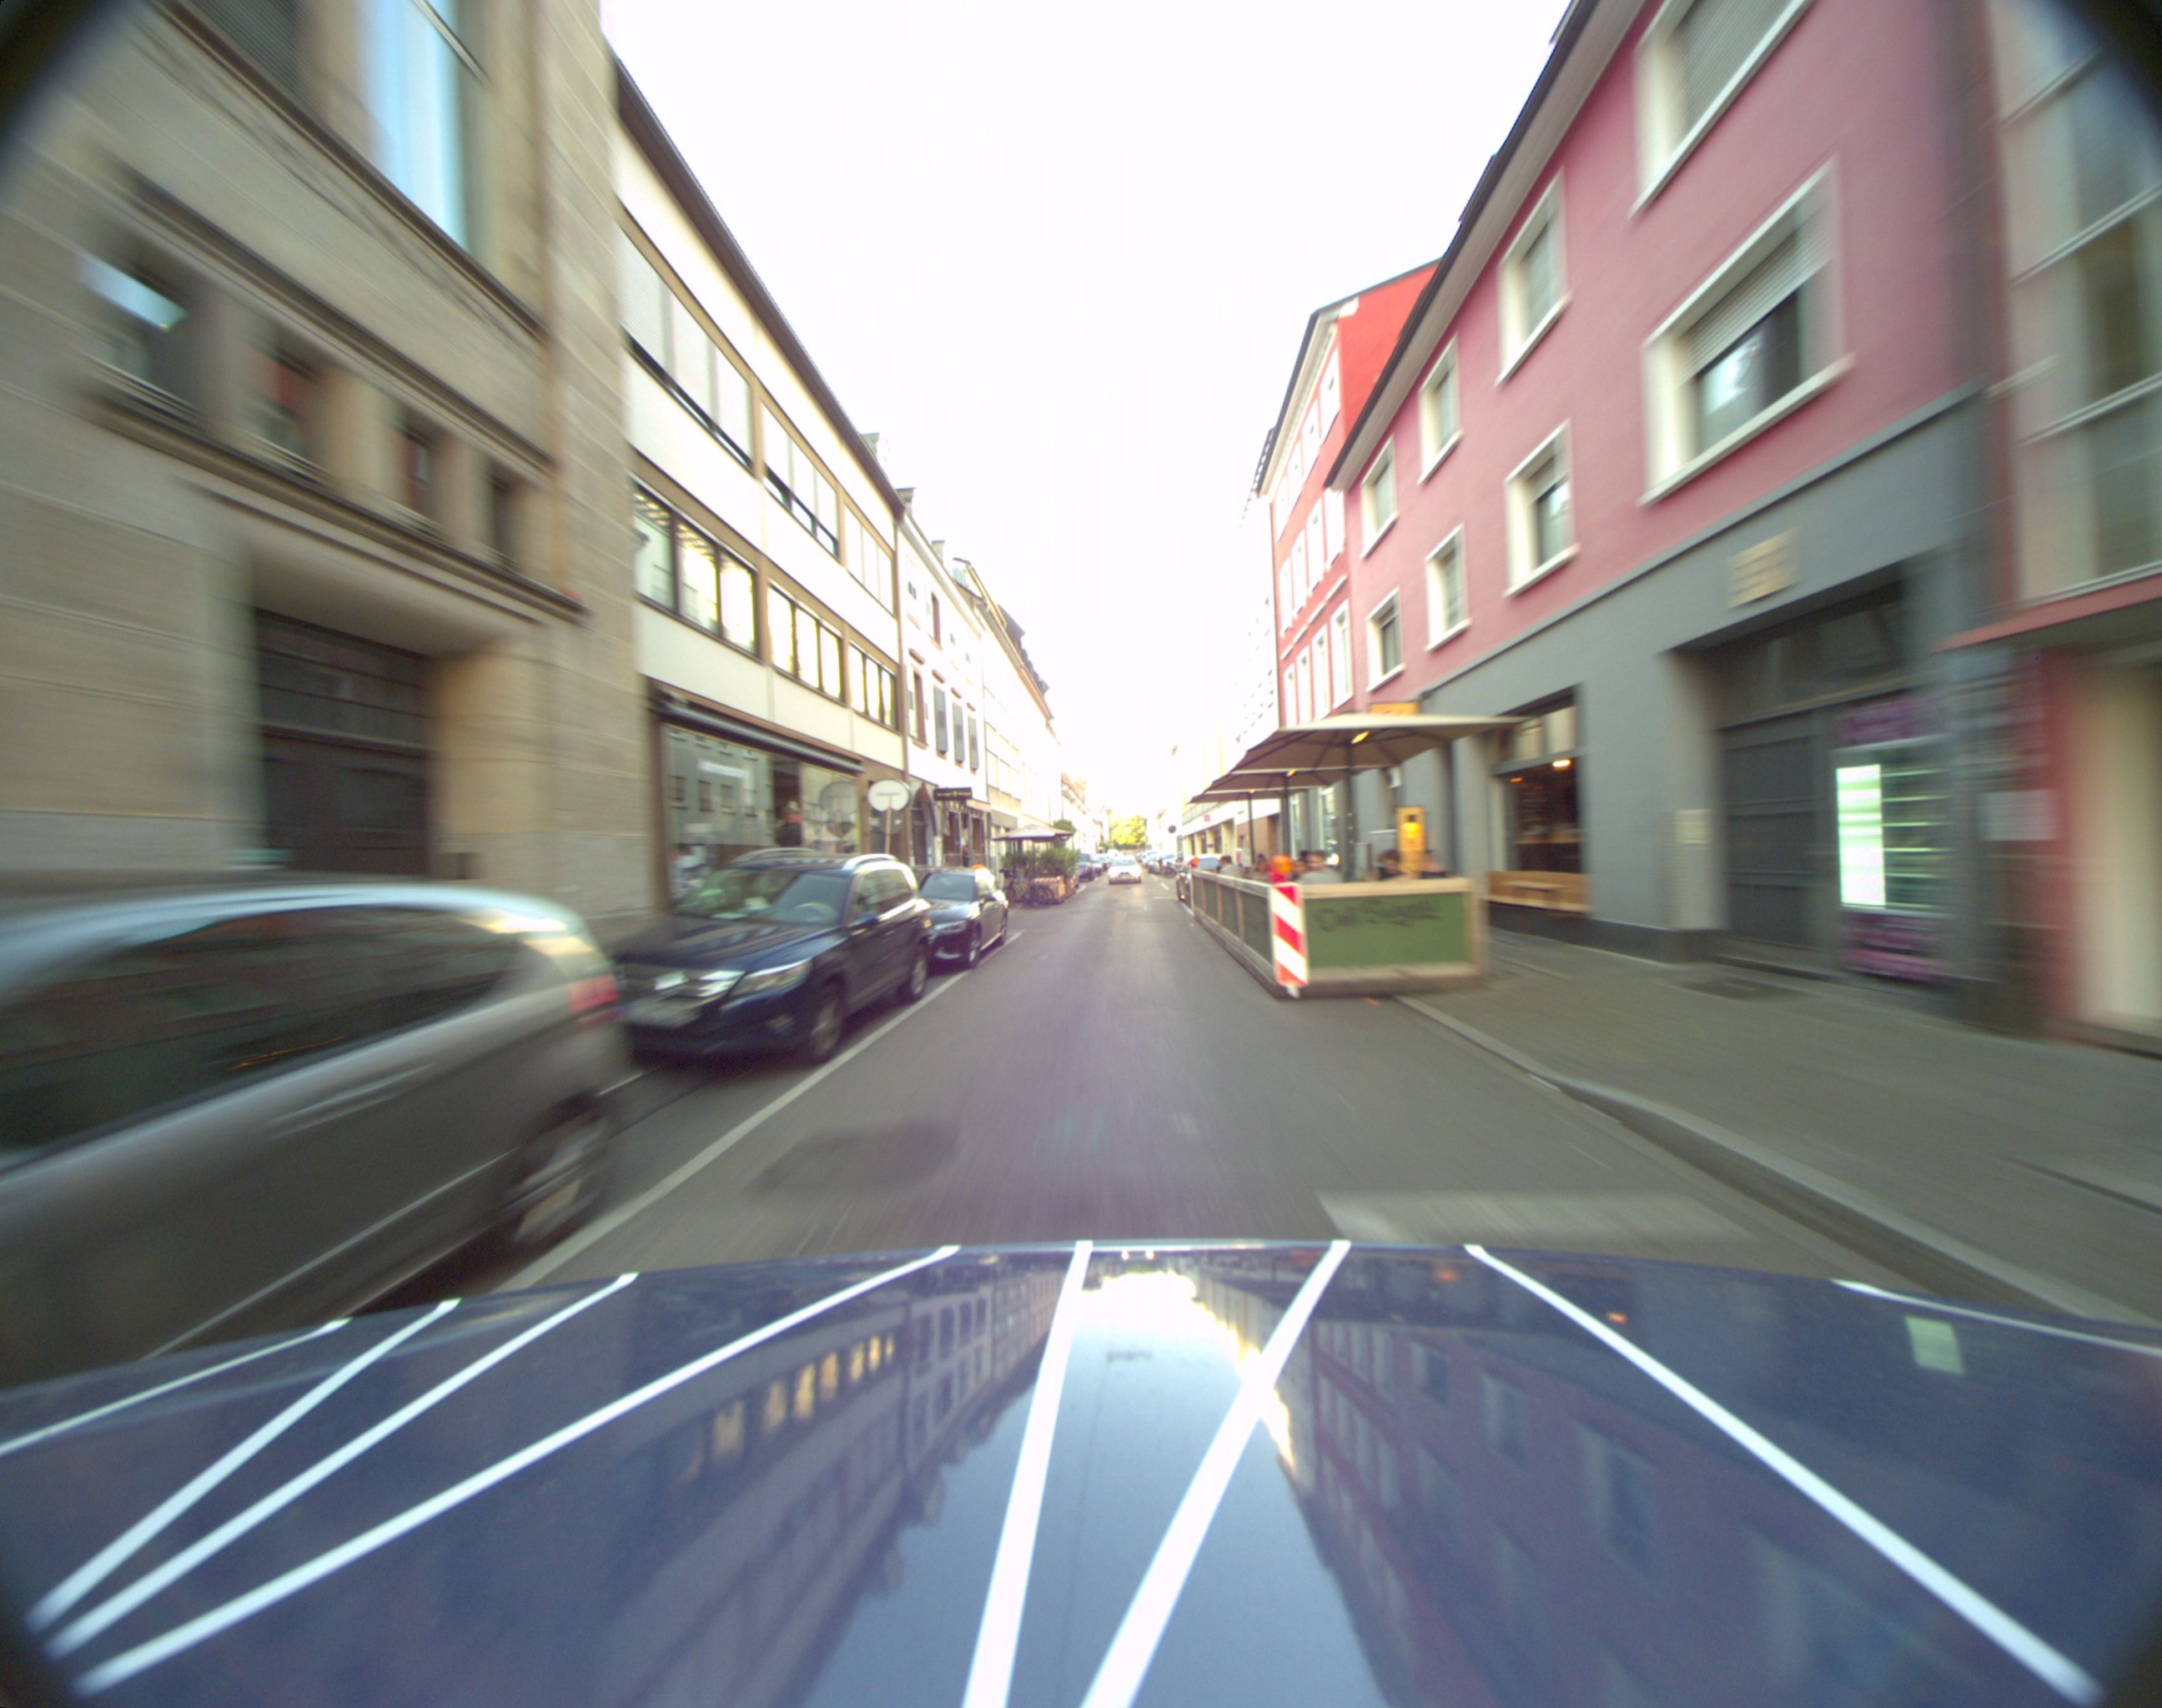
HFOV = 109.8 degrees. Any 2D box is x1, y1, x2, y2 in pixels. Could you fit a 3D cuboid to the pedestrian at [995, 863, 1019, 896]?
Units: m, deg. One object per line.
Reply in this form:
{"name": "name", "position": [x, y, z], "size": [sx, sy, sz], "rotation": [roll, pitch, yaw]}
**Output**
{"name": "pedestrian", "position": [-2.898, 0.993, 29.770], "size": [0.736, 1.236, 0.646], "rotation": [-3, 1, 5]}

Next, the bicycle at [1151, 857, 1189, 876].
{"name": "bicycle", "position": [5.987, 0.836, 51.019], "size": [2.480, 1.172, 0.784], "rotation": [-3, 1, 9]}

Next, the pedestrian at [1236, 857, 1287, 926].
{"name": "pedestrian", "position": [2.931, 0.596, 12.362], "size": [0.612, 1.056, 0.547], "rotation": [-3, 1, -4]}

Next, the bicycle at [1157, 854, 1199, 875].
{"name": "bicycle", "position": [5.986, 0.648, 46.981], "size": [2.480, 1.172, 0.784], "rotation": [-3, 1, 9]}

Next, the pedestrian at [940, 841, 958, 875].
{"name": "pedestrian", "position": [-4.899, 0.148, 28.262], "size": [0.467, 1.236, 0.610], "rotation": [-2, 1, 3]}

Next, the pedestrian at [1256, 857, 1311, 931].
{"name": "pedestrian", "position": [3.061, 0.594, 11.509], "size": [0.612, 1.056, 0.547], "rotation": [-3, 1, -4]}

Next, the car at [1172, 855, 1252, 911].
{"name": "car", "position": [3.816, 0.796, 22.755], "size": [1.722, 1.452, 4.135], "rotation": [-3, 0, 2]}

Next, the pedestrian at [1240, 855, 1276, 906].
{"name": "pedestrian", "position": [3.709, 0.551, 15.924], "size": [0.559, 1.031, 0.492], "rotation": [-3, 1, -4]}

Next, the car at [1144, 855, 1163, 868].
{"name": "car", "position": [8.616, 0.892, 90.336], "size": [1.998, 1.462, 4.460], "rotation": [-3, 0, 4]}

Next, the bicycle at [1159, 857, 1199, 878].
{"name": "bicycle", "position": [6.277, 0.876, 48.724], "size": [2.480, 1.172, 0.784], "rotation": [-3, 1, 9]}

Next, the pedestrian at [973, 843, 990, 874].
{"name": "pedestrian", "position": [-4.077, 0.169, 31.191], "size": [0.566, 1.236, 0.610], "rotation": [-2, 1, 3]}

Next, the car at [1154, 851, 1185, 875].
{"name": "car", "position": [6.627, 0.677, 57.435], "size": [1.998, 1.666, 4.460], "rotation": [-3, 0, 4]}

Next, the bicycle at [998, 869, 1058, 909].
{"name": "bicycle", "position": [-1.706, 1.136, 24.687], "size": [1.873, 1.221, 0.596], "rotation": [1, 1, 4]}

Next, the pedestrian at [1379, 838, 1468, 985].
{"name": "pedestrian", "position": [3.601, 0.588, 8.025], "size": [0.612, 1.464, 0.547], "rotation": [-3, 1, -4]}

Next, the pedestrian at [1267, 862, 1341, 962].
{"name": "pedestrian", "position": [2.536, 0.644, 8.686], "size": [0.612, 1.056, 0.547], "rotation": [-3, 1, -4]}

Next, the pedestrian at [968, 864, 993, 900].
{"name": "pedestrian", "position": [-3.577, 0.994, 27.082], "size": [0.736, 1.236, 0.646], "rotation": [-2, 1, 3]}

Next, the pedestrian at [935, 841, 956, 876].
{"name": "pedestrian", "position": [-4.807, 0.154, 26.984], "size": [0.566, 1.236, 0.610], "rotation": [-2, 1, 3]}

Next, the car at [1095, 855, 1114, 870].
{"name": "car", "position": [2.737, 0.986, 88.660], "size": [1.998, 1.666, 4.460], "rotation": [-3, 0, 4]}

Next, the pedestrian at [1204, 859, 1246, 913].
{"name": "pedestrian", "position": [2.973, 0.645, 15.718], "size": [0.673, 1.056, 0.547], "rotation": [-3, 1, -4]}

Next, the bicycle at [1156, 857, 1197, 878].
{"name": "bicycle", "position": [6.025, 0.823, 47.911], "size": [2.480, 1.172, 0.784], "rotation": [-3, 1, 9]}

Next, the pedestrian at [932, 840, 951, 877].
{"name": "pedestrian", "position": [-4.821, 0.158, 26.193], "size": [0.467, 1.236, 0.610], "rotation": [-2, 1, 3]}

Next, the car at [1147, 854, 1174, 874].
{"name": "car", "position": [6.570, 0.798, 63.077], "size": [1.998, 1.462, 4.460], "rotation": [-3, 0, 4]}

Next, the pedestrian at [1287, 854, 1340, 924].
{"name": "pedestrian", "position": [3.715, 0.552, 12.168], "size": [0.603, 1.056, 0.547], "rotation": [-3, 1, -4]}

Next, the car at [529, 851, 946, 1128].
{"name": "car", "position": [-2.716, 0.924, 7.257], "size": [1.674, 1.796, 4.241], "rotation": [-4, 0, 5]}

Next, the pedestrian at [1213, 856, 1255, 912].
{"name": "pedestrian", "position": [3.007, 0.579, 14.948], "size": [0.634, 1.061, 0.560], "rotation": [-3, 1, -4]}

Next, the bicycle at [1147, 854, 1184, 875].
{"name": "bicycle", "position": [5.982, 0.724, 53.892], "size": [2.480, 1.322, 0.784], "rotation": [-3, 1, 9]}

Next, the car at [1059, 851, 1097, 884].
{"name": "car", "position": [-0.130, 0.798, 47.125], "size": [1.998, 1.835, 4.001], "rotation": [-3, 0, 4]}

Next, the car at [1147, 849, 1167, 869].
{"name": "car", "position": [8.482, 0.542, 85.241], "size": [1.998, 2.029, 4.460], "rotation": [-3, 0, 4]}

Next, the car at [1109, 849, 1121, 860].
{"name": "car", "position": [6.190, 0.032, 138.906], "size": [1.998, 1.884, 4.460], "rotation": [-3, 0, 4]}

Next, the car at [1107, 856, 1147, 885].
{"name": "car", "position": [2.517, 0.871, 41.490], "size": [1.998, 1.413, 4.460], "rotation": [-3, 0, 4]}

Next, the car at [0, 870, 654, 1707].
{"name": "car", "position": [-3.079, 0.944, 1.783], "size": [1.778, 1.656, 4.000], "rotation": [-2, 0, 1]}

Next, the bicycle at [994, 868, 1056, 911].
{"name": "bicycle", "position": [-1.751, 1.125, 24.005], "size": [1.873, 1.295, 0.596], "rotation": [1, 1, 4]}

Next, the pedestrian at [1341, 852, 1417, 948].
{"name": "pedestrian", "position": [3.509, 0.525, 8.981], "size": [0.612, 1.056, 0.547], "rotation": [-3, 1, -4]}

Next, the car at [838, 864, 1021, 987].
{"name": "car", "position": [-2.247, 1.002, 12.715], "size": [1.693, 1.507, 4.992], "rotation": [-3, 0, 4]}

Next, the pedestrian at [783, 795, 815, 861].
{"name": "pedestrian", "position": [-5.879, -0.536, 15.847], "size": [0.437, 1.342, 0.424], "rotation": [-3, 1, 1]}

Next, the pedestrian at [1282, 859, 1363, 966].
{"name": "pedestrian", "position": [2.560, 0.604, 8.098], "size": [0.612, 1.056, 0.547], "rotation": [-3, 1, -4]}

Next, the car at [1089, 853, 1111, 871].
{"name": "car", "position": [2.012, 0.807, 77.702], "size": [1.998, 1.666, 4.460], "rotation": [-3, 0, 4]}

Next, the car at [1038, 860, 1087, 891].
{"name": "car", "position": [-0.836, 1.000, 36.809], "size": [1.939, 1.288, 4.001], "rotation": [-3, 0, 4]}

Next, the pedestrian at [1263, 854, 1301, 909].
{"name": "pedestrian", "position": [4.006, 0.539, 15.181], "size": [0.559, 1.031, 0.492], "rotation": [-3, 1, -4]}

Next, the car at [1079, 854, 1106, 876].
{"name": "car", "position": [0.988, 0.872, 62.753], "size": [1.998, 1.666, 4.460], "rotation": [-3, 0, 4]}
